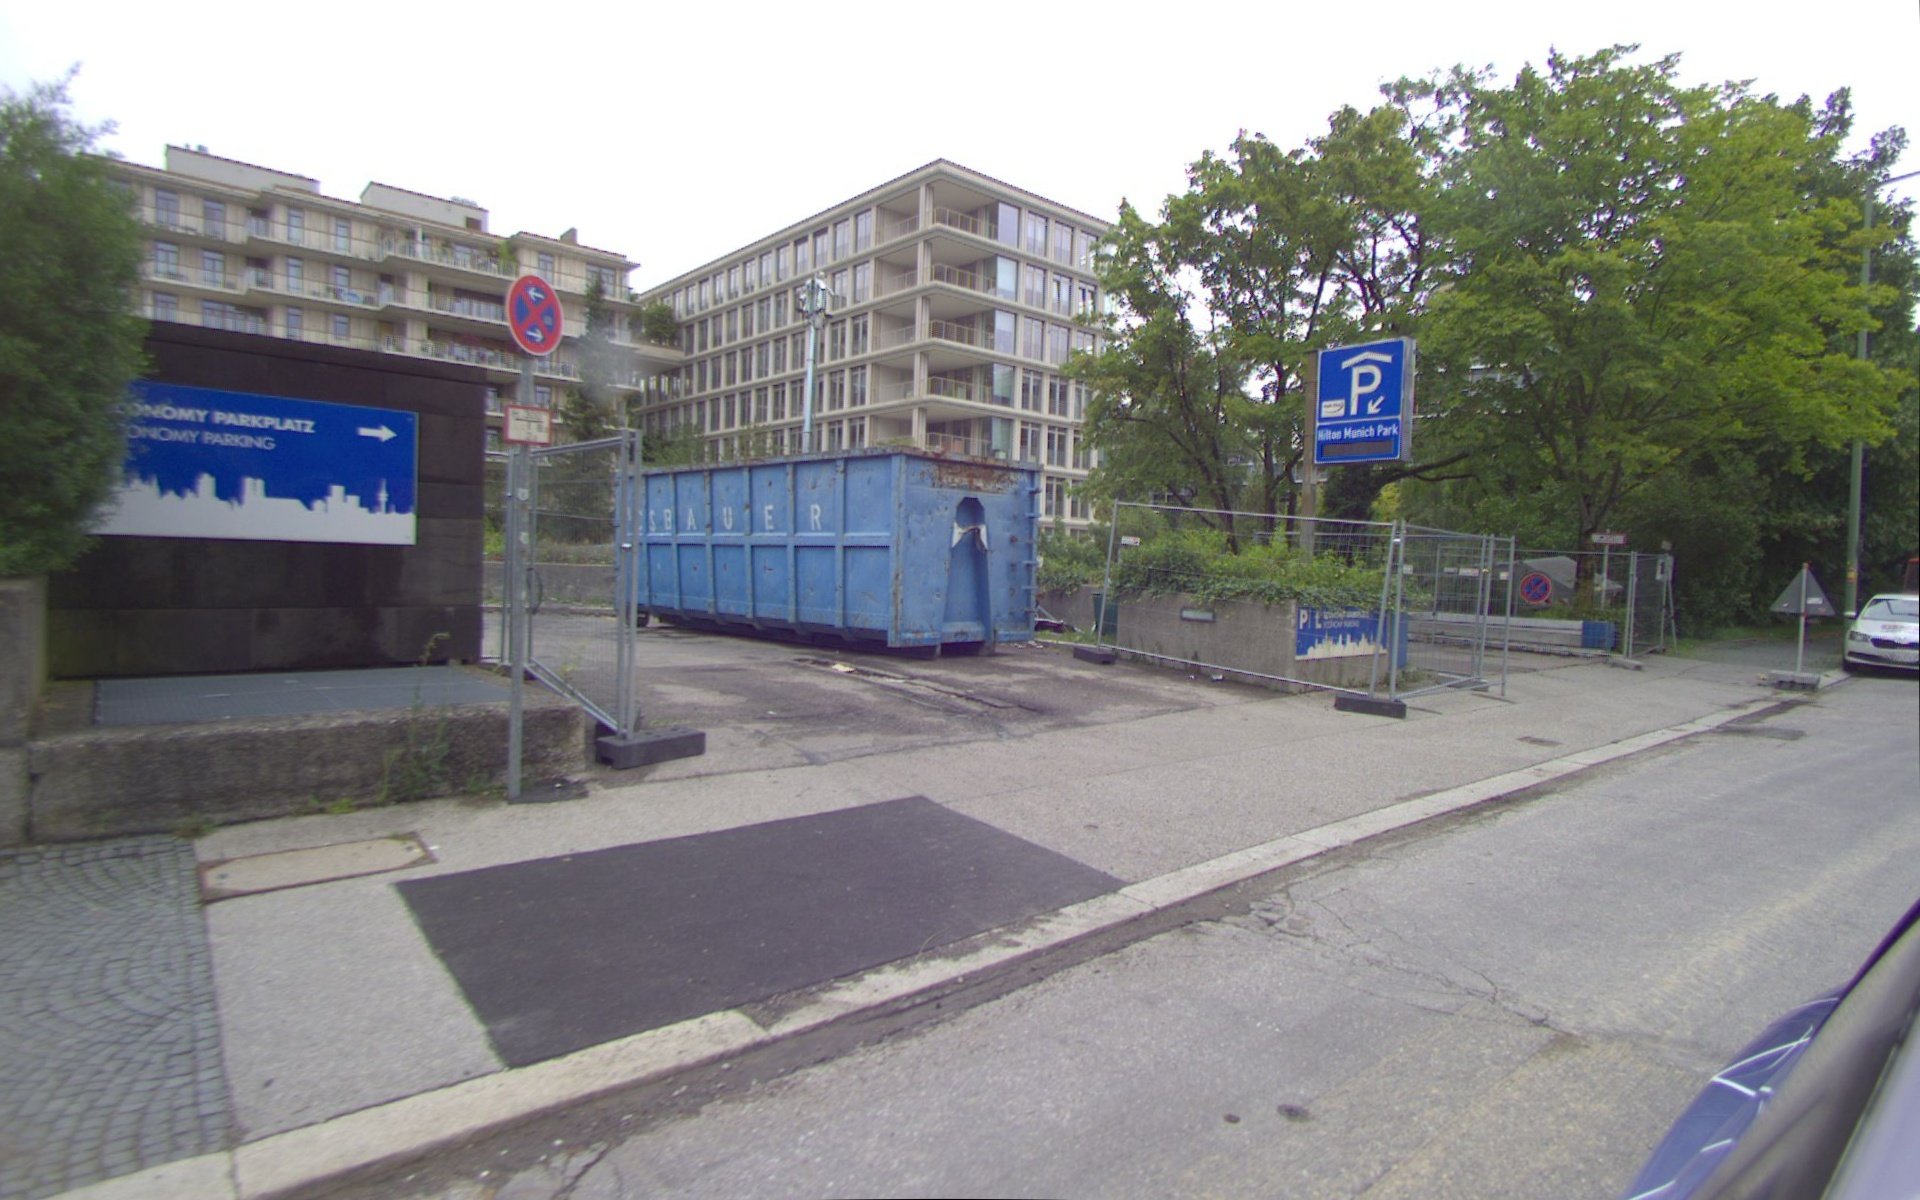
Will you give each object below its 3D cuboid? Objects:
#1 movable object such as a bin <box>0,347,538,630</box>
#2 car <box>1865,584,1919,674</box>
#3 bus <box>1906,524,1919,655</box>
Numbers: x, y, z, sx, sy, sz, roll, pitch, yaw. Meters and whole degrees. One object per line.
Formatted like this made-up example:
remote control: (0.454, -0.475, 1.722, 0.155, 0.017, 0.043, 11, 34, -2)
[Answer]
movable object such as a bin: (-11.097, -1.715, 16.446, 7.091, 3.728, 3.866, 3, 2, 21)
car: (18.417, 0.512, 19.174, 3.994, 1.510, 1.534, -2, 4, -44)
bus: (23.747, -0.176, 23.025, 6.155, 2.839, 2.079, 0, 2, -37)
